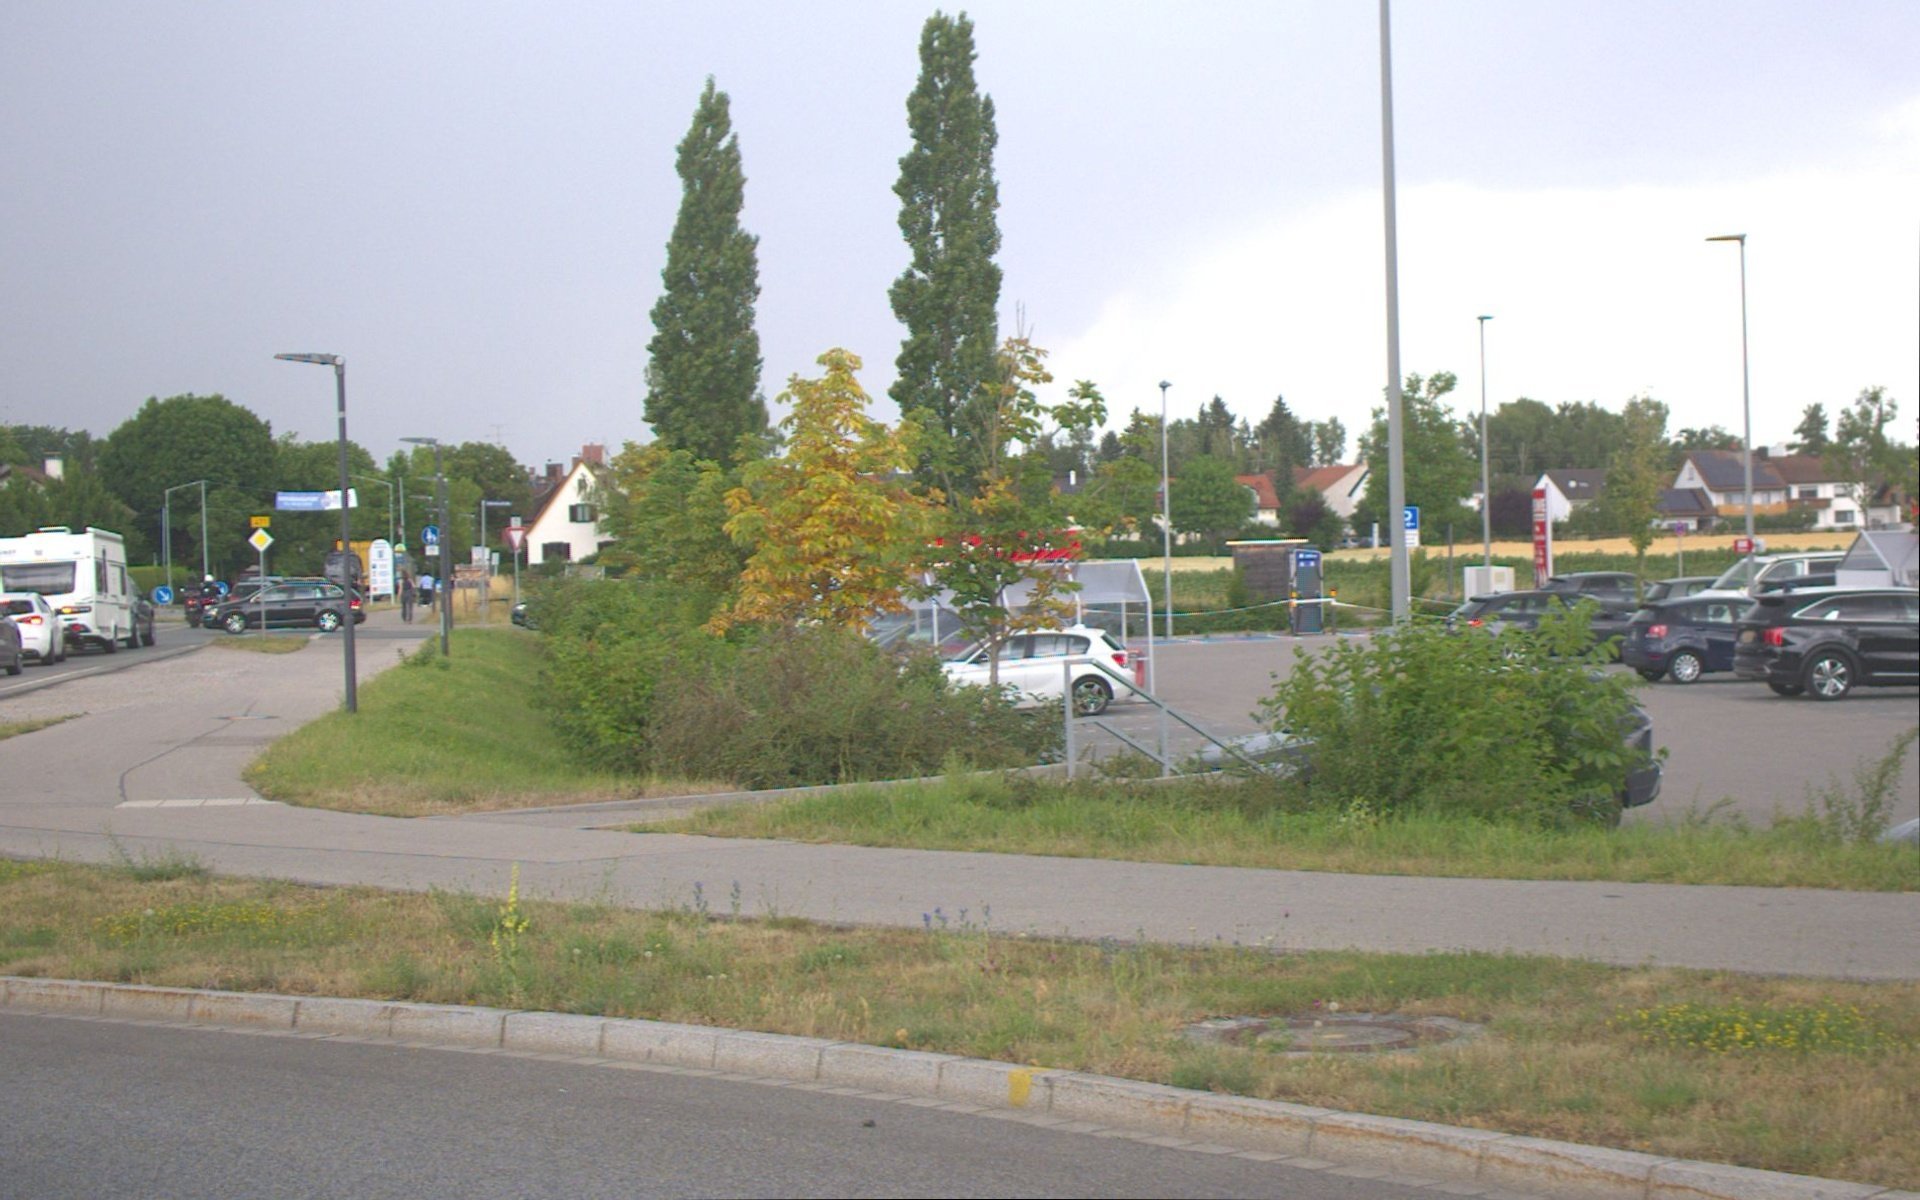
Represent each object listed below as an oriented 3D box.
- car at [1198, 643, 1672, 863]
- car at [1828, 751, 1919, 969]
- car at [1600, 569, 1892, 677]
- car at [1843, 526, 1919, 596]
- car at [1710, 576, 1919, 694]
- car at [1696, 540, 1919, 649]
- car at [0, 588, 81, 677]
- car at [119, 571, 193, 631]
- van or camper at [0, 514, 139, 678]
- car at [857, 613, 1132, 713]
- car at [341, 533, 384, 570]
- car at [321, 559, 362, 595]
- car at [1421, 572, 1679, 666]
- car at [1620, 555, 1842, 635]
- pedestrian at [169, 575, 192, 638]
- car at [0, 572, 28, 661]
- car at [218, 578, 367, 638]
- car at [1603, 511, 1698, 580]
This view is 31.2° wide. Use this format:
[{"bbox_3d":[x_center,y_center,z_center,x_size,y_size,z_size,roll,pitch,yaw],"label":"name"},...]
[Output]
[{"bbox_3d":[4.436,1.398,32.320,3.986,1.601,1.792,-2,9,-16],"label":"car"},{"bbox_3d":[7.774,1.726,24.033,3.722,1.368,1.580,-2,1,-44],"label":"car"},{"bbox_3d":[13.379,0.377,58.660,4.403,1.659,2.000,-2,1,-7],"label":"car"},{"bbox_3d":[26.559,-1.108,94.446,3.986,1.831,2.000,-2,1,-3],"label":"car"},{"bbox_3d":[13.936,0.508,52.559,4.449,1.700,1.804,-1,1,-7],"label":"car"},{"bbox_3d":[18.111,-0.137,71.499,5.107,2.006,2.001,-3,2,-17],"label":"car"},{"bbox_3d":[-18.079,0.597,65.484,1.993,1.590,4.001,0,1,-6],"label":"car"},{"bbox_3d":[-28.017,0.007,119.968,1.993,2.007,4.001,-1,1,-6],"label":"car"},{"bbox_3d":[-19.391,-0.075,73.888,2.624,3.312,6.823,-2,0,-8],"label":"van or camper"},{"bbox_3d":[0.536,1.013,56.365,4.232,1.435,2.000,-2,1,-7],"label":"car"},{"bbox_3d":[-36.097,-2.932,207.753,1.993,2.204,4.001,-2,1,-3],"label":"car"},{"bbox_3d":[-32.344,-1.221,179.831,1.993,1.831,4.001,-1,1,-9],"label":"car"},{"bbox_3d":[11.552,0.353,67.476,4.556,1.659,2.000,-2,1,-7],"label":"car"},{"bbox_3d":[16.666,-0.125,74.378,4.312,1.572,1.768,-2,1,-5],"label":"car"},{"bbox_3d":[-25.212,0.208,111.192,0.578,2.007,0.681,1,0,-1],"label":"pedestrian"},{"bbox_3d":[-16.586,0.298,56.849,1.776,1.429,3.803,-3,1,-8],"label":"car"},{"bbox_3d":[-18.787,0.216,96.878,3.986,1.612,2.000,1,0,-7],"label":"car"},{"bbox_3d":[20.960,-1.646,104.517,1.993,2.007,4.000,1,1,-1],"label":"car"}]
